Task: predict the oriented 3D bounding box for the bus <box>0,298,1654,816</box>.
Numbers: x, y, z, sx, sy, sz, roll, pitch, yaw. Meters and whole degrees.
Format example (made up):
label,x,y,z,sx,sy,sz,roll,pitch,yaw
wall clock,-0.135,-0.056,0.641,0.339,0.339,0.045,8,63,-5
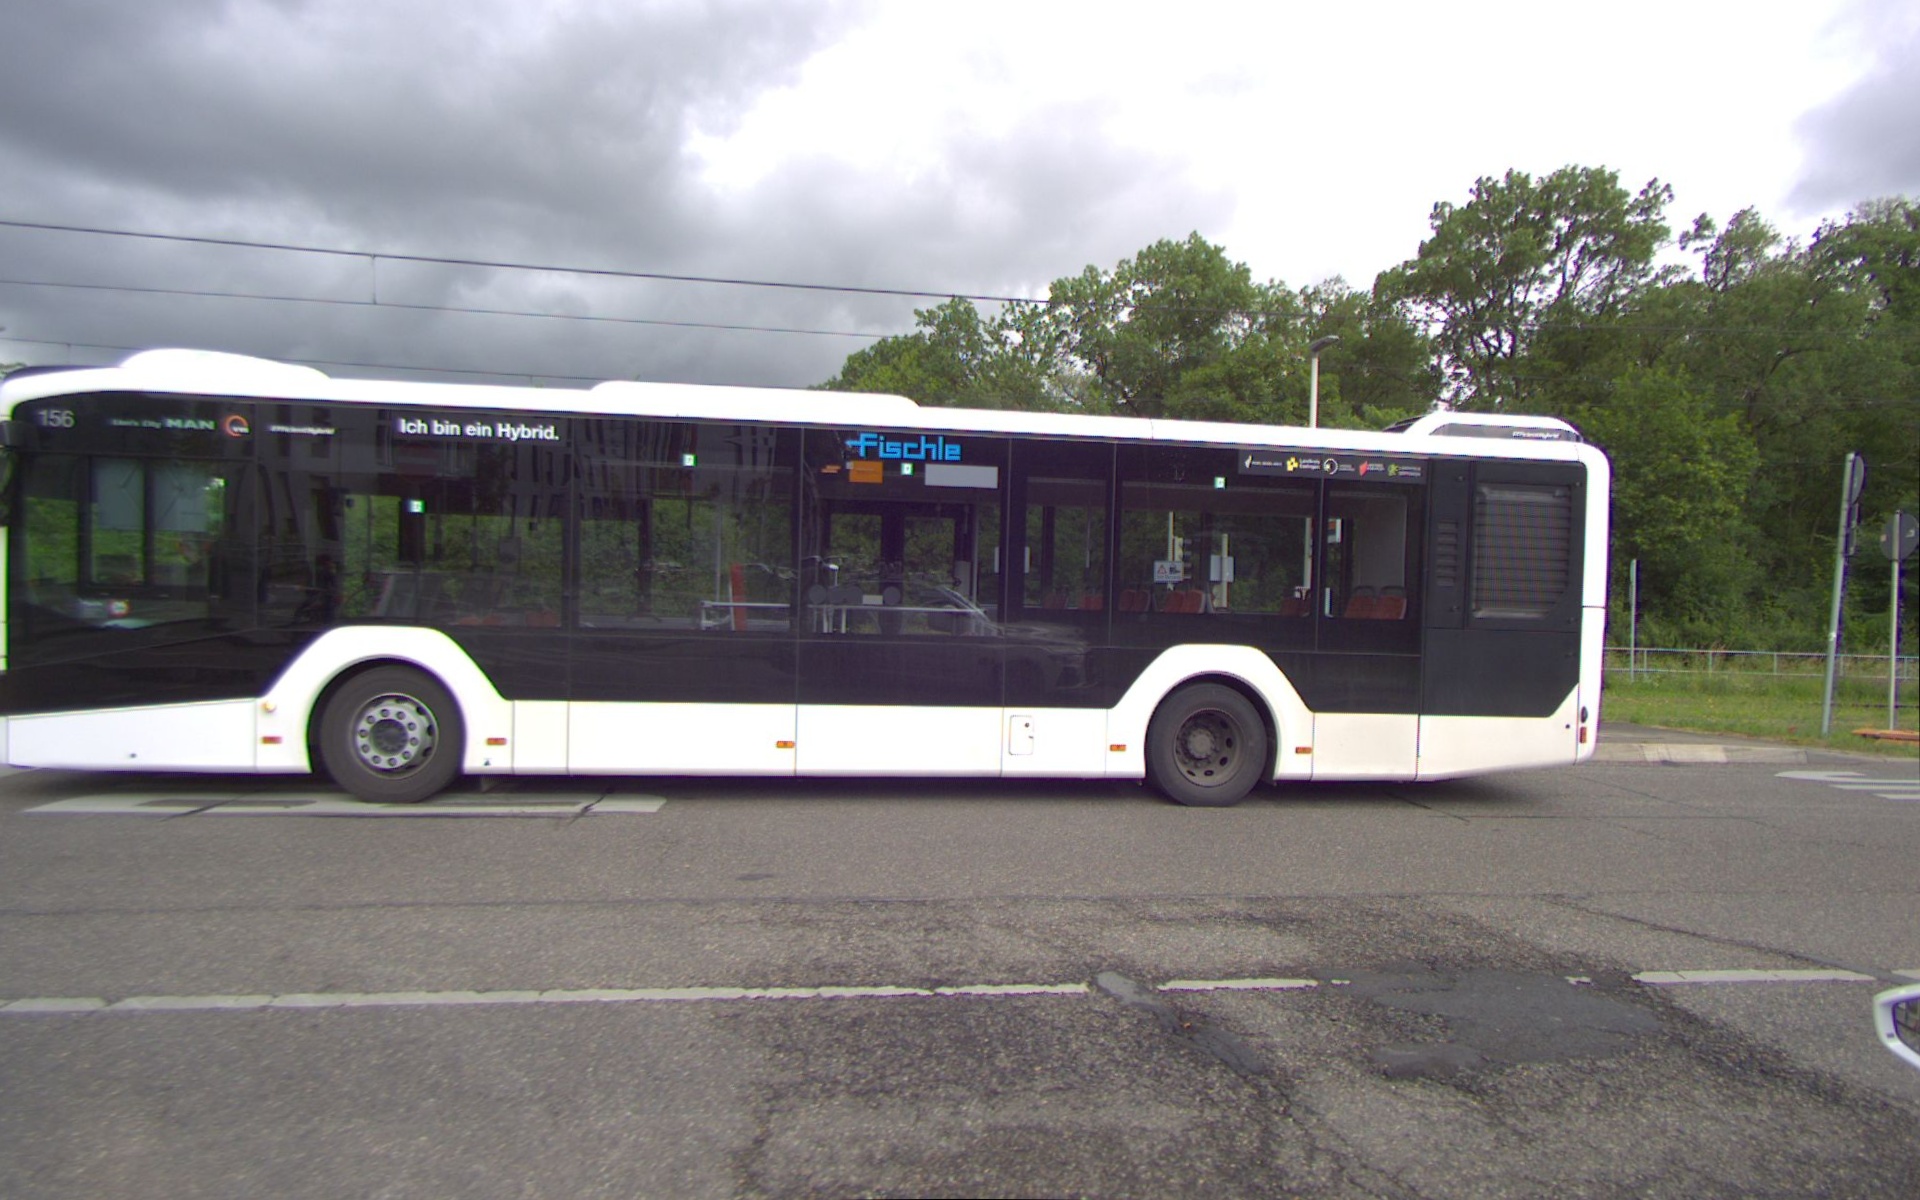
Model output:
label,x,y,z,sx,sy,sz,roll,pitch,yaw
bus,-0.683,-0.120,8.492,11.972,3.245,2.672,2,-1,-7
